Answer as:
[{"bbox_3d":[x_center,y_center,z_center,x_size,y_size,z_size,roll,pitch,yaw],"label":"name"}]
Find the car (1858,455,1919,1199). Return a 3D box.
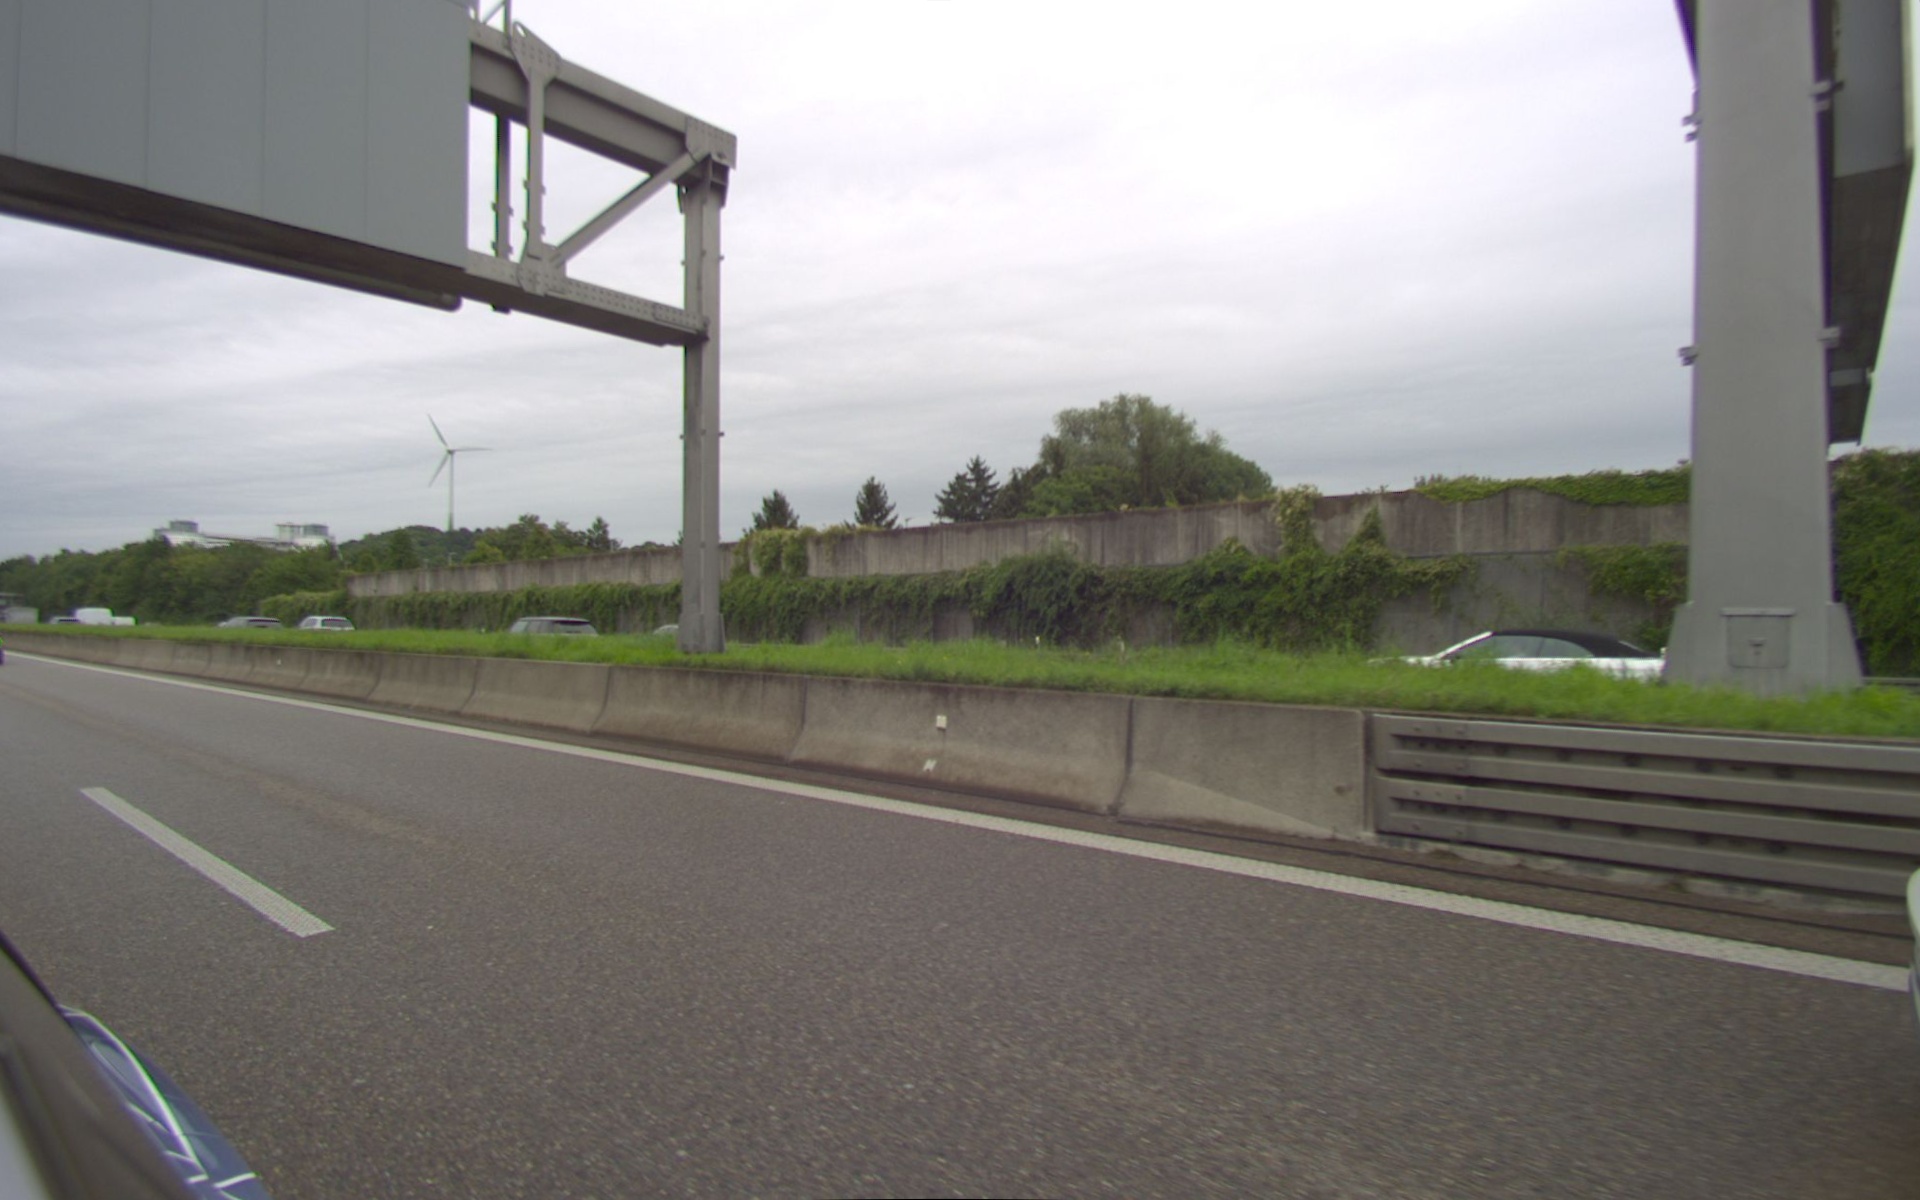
[{"bbox_3d":[4.175,0.502,1.139,4.661,1.630,1.735,-1,-1,41],"label":"car"}]

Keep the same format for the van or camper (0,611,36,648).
[{"bbox_3d":[-106.145,3.261,113.568,8.398,3.978,2.680,-1,0,41],"label":"van or camper"}]

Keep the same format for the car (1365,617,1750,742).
[{"bbox_3d":[7.906,0.949,13.632,4.234,1.376,1.687,-1,0,41],"label":"car"}]

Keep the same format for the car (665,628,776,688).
[{"bbox_3d":[-9.017,2.126,38.011,4.222,2.029,1.973,-1,0,41],"label":"car"}]

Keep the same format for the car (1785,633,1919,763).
[{"bbox_3d":[16.362,1.530,15.462,5.751,1.888,2.186,-1,0,41],"label":"car"}]

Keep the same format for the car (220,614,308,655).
[{"bbox_3d":[-28.327,1.372,41.139,4.222,1.555,1.973,-1,-1,41],"label":"car"}]

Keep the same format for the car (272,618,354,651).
[{"bbox_3d":[-30.568,1.609,47.732,4.932,1.465,1.973,-1,-1,41],"label":"car"}]

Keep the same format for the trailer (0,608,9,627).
[{"bbox_3d":[-170.341,3.093,179.060,10.560,3.314,2.282,-1,0,42],"label":"trailer"}]

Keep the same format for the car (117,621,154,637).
[{"bbox_3d":[-75.608,2.662,92.822,4.524,1.354,1.860,-1,-1,41],"label":"car"}]

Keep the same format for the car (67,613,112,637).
[{"bbox_3d":[-75.258,2.101,87.439,6.531,1.926,2.104,-1,0,42],"label":"car"}]

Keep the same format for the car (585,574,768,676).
[{"bbox_3d":[-6.344,0.506,22.444,4.224,2.029,1.972,-1,0,42],"label":"car"}]

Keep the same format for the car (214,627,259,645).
[{"bbox_3d":[-48.033,2.370,67.187,3.271,1.104,1.589,-1,-1,38],"label":"car"}]
